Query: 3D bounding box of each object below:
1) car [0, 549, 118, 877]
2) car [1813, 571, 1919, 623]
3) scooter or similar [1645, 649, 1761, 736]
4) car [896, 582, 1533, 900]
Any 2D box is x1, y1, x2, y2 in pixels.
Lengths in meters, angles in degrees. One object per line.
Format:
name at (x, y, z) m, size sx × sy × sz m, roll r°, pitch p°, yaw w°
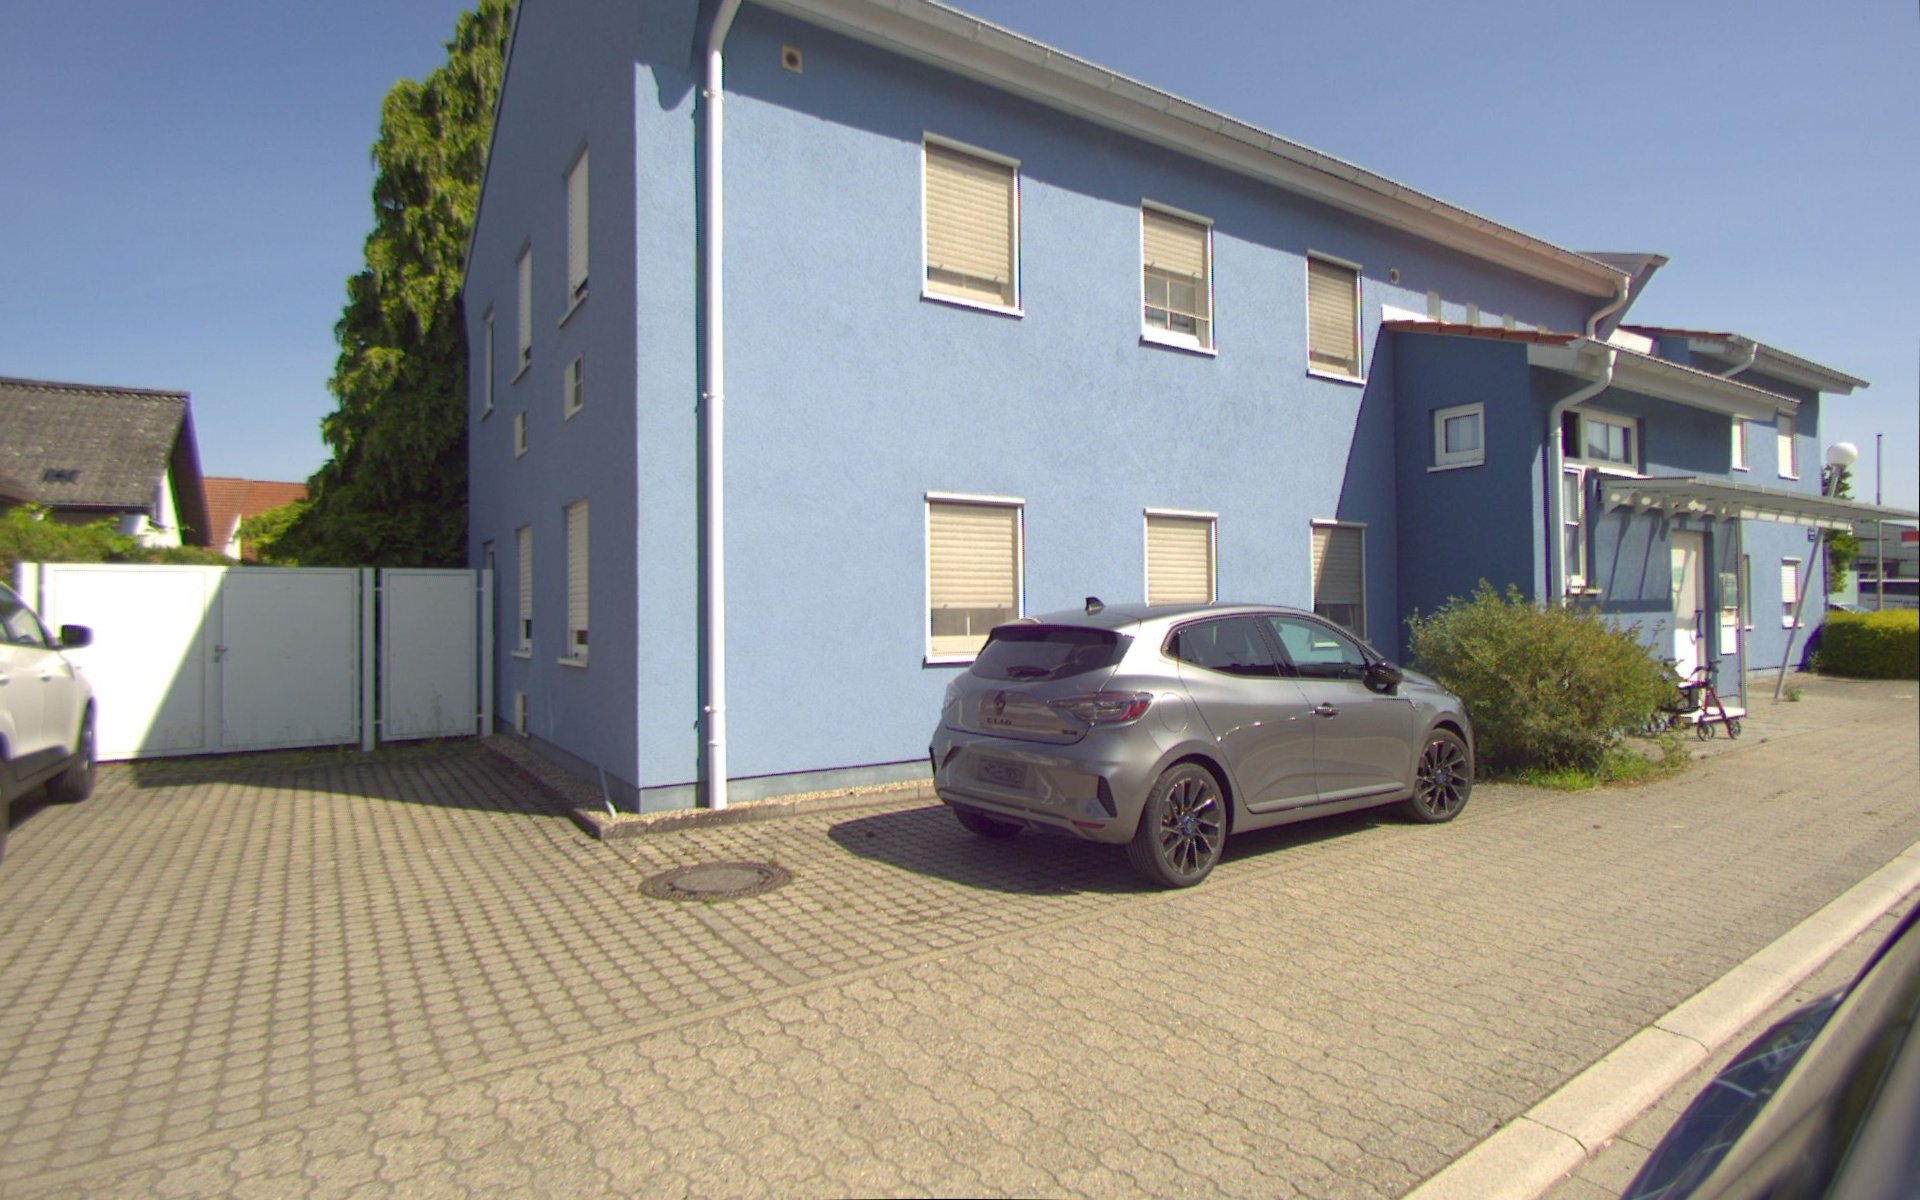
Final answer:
car at (-6.356, 0.598, 5.808) m, size 1.776 × 1.678 × 4.190 m, roll -1°, pitch 0°, yaw -32°
car at (37.826, -0.116, 40.735) m, size 5.261 × 2.039 × 2.200 m, roll 0°, pitch 0°, yaw 40°
scooter or similar at (7.935, 0.966, 10.822) m, size 0.811 × 0.825 × 0.731 m, roll -1°, pitch 0°, yaw -31°
car at (1.778, 0.639, 6.491) m, size 4.067 × 1.438 × 1.695 m, roll -1°, pitch -1°, yaw -35°
